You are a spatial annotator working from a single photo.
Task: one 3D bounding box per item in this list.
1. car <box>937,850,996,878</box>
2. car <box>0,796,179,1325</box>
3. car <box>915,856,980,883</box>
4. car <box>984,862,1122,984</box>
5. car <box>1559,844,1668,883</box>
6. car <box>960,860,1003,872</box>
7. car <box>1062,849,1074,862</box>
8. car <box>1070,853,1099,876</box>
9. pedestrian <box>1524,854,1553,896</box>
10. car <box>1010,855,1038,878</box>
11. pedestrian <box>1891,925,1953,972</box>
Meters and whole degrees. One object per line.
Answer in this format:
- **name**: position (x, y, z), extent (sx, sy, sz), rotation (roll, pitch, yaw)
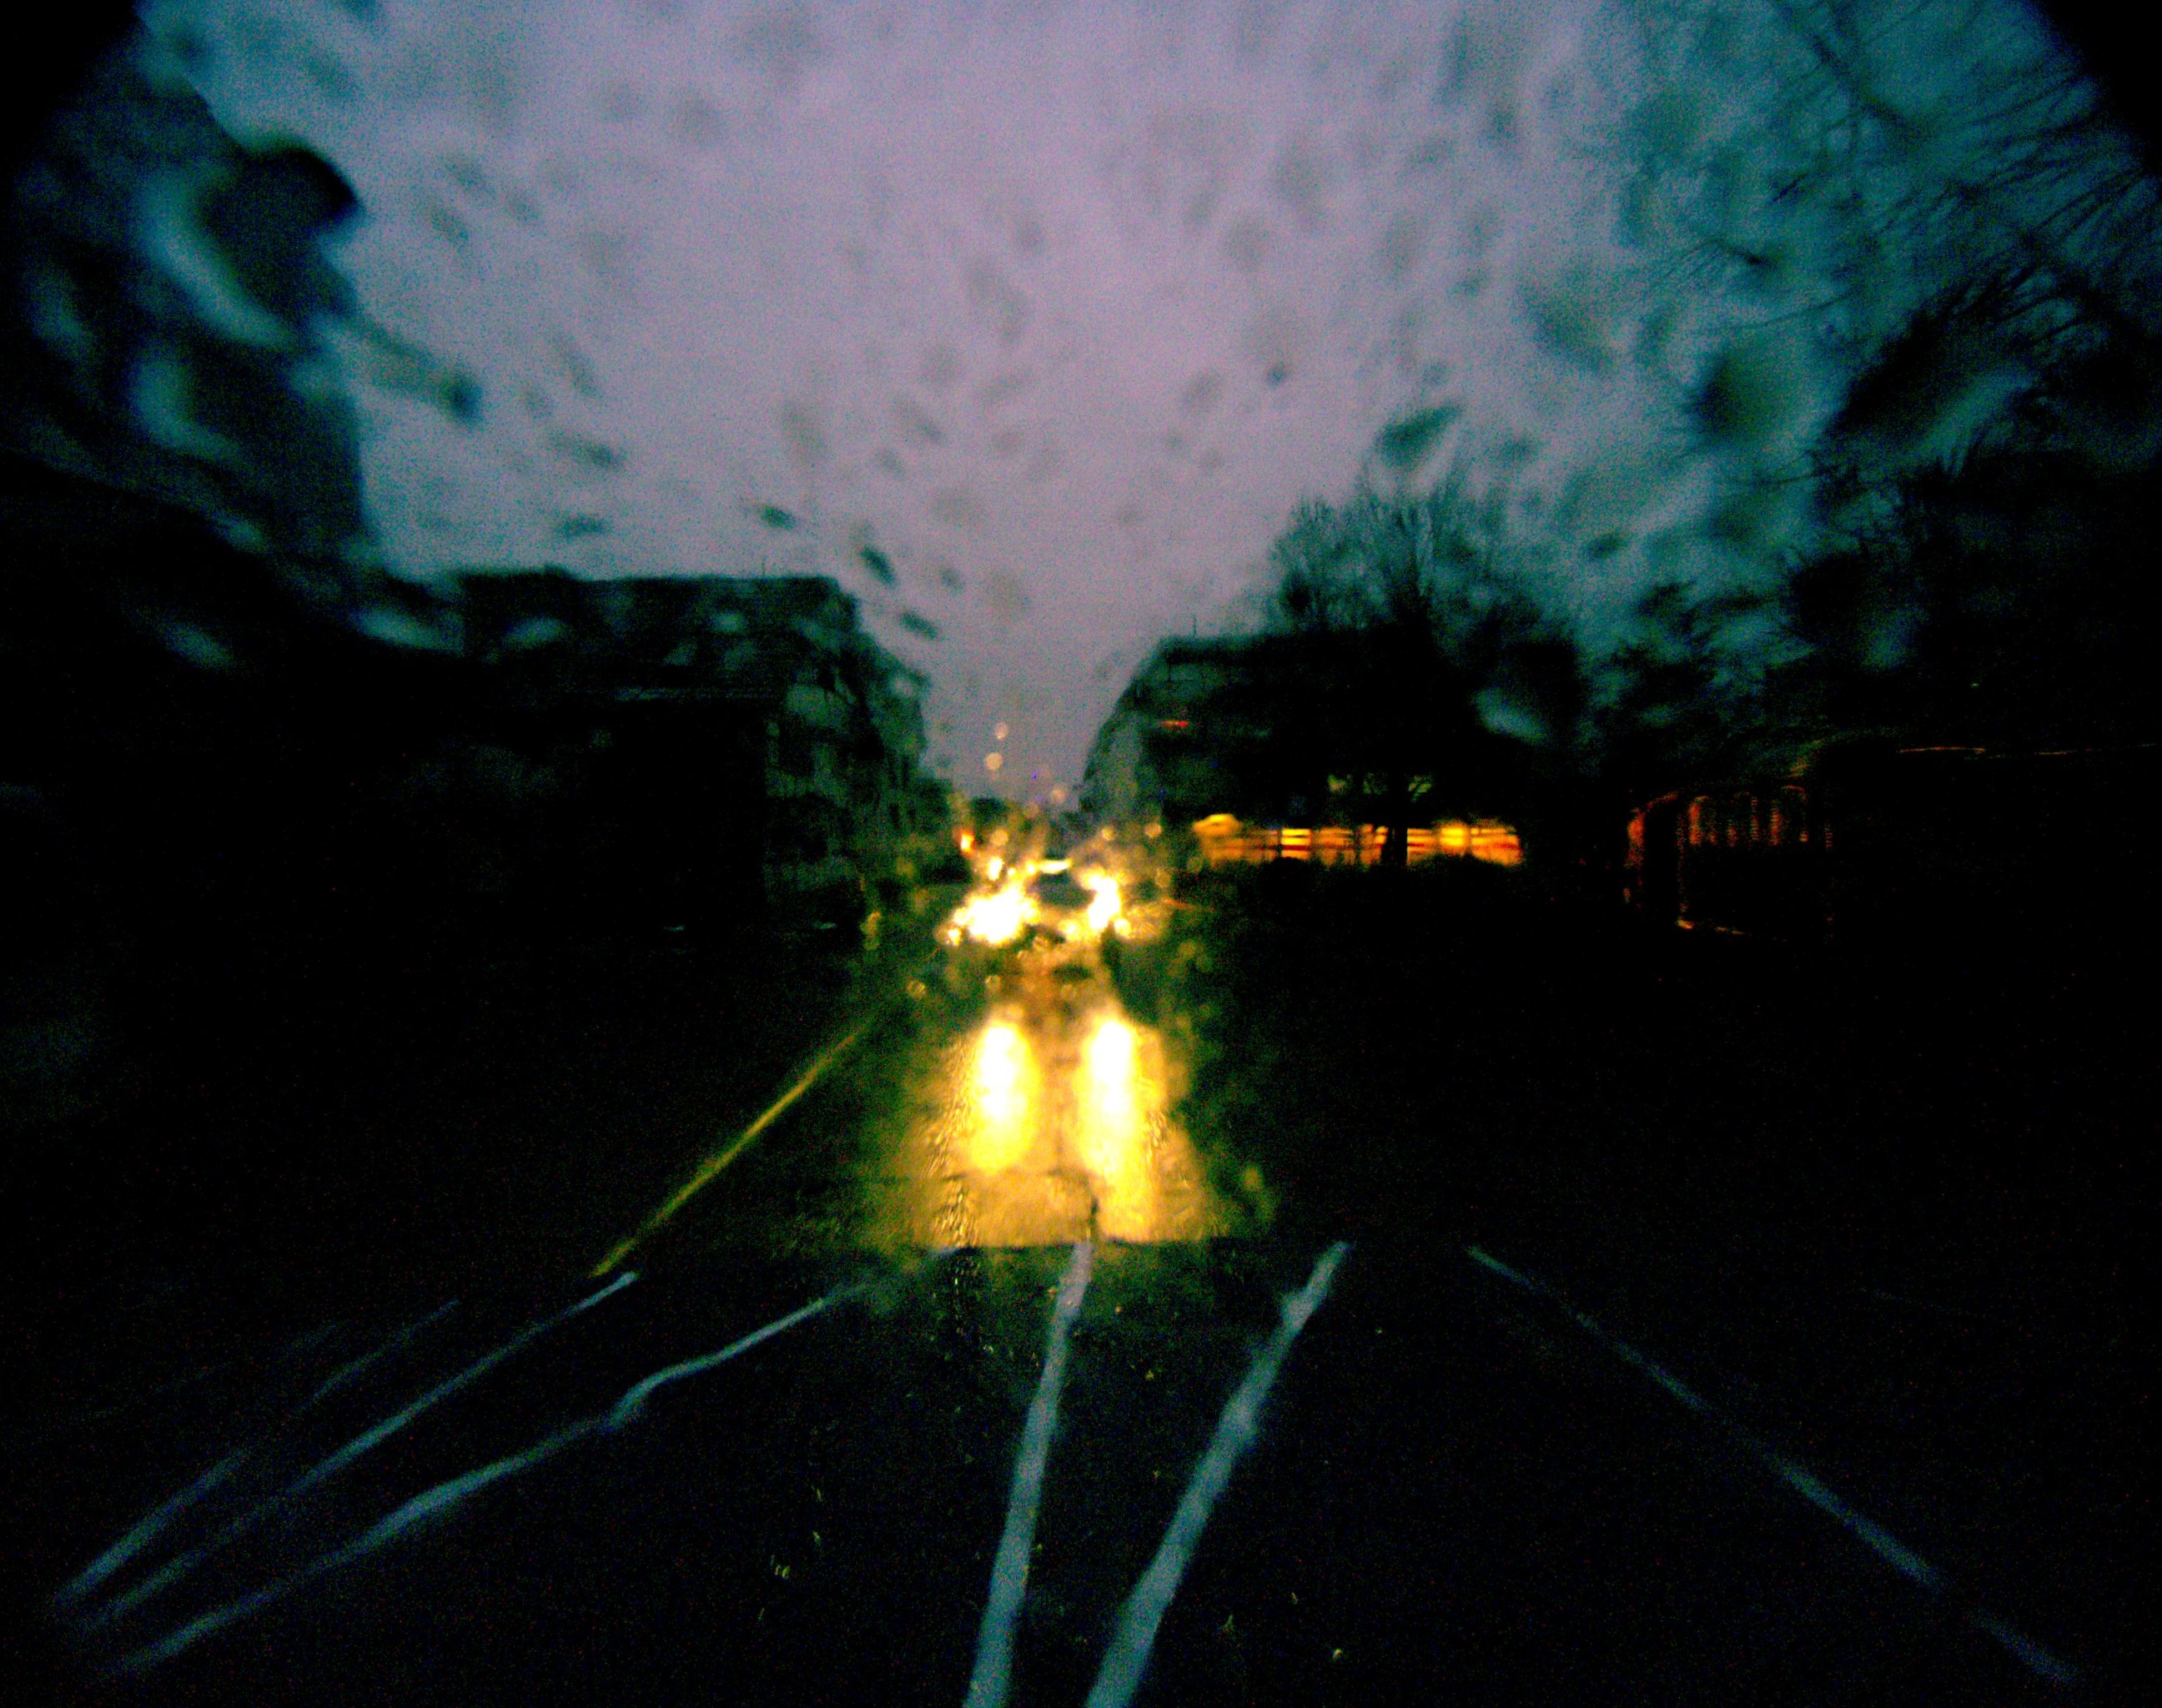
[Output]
- **car**: position (-7.861, 0.678, 52.018), extent (3.891, 1.866, 1.867), rotation (0, 0, -10)
- **car**: position (-5.773, 0.666, 2.281), extent (4.051, 1.832, 1.864), rotation (2, 1, 3)
- **car**: position (-8.149, 0.932, 46.438), extent (3.854, 1.618, 1.610), rotation (1, 0, -10)
- **car**: position (-0.397, 0.914, 11.597), extent (1.731, 1.475, 3.603), rotation (-2, 0, -1)
- **car**: position (21.512, 0.381, 30.798), extent (3.306, 1.499, 1.503), rotation (-1, 0, 8)
- **car**: position (-9.196, 1.093, 70.607), extent (3.890, 1.121, 1.550), rotation (0, 0, -5)
- **car**: position (-2.216, 0.270, 126.155), extent (1.837, 2.002, 3.699), rotation (-1, 0, -3)
- **car**: position (0.225, 0.787, 57.926), extent (1.900, 1.607, 3.825), rotation (-1, 0, -4)
- **pedestrian**: position (15.067, 0.689, 25.055), extent (0.620, 1.331, 0.568), rotation (-1, 0, 8)
- **car**: position (-4.232, 0.881, 55.962), extent (1.924, 1.608, 3.866), rotation (-2, 0, -7)
- **pedestrian**: position (9.613, 1.072, 8.690), extent (0.295, 0.482, 0.361), rotation (1, 1, 0)
